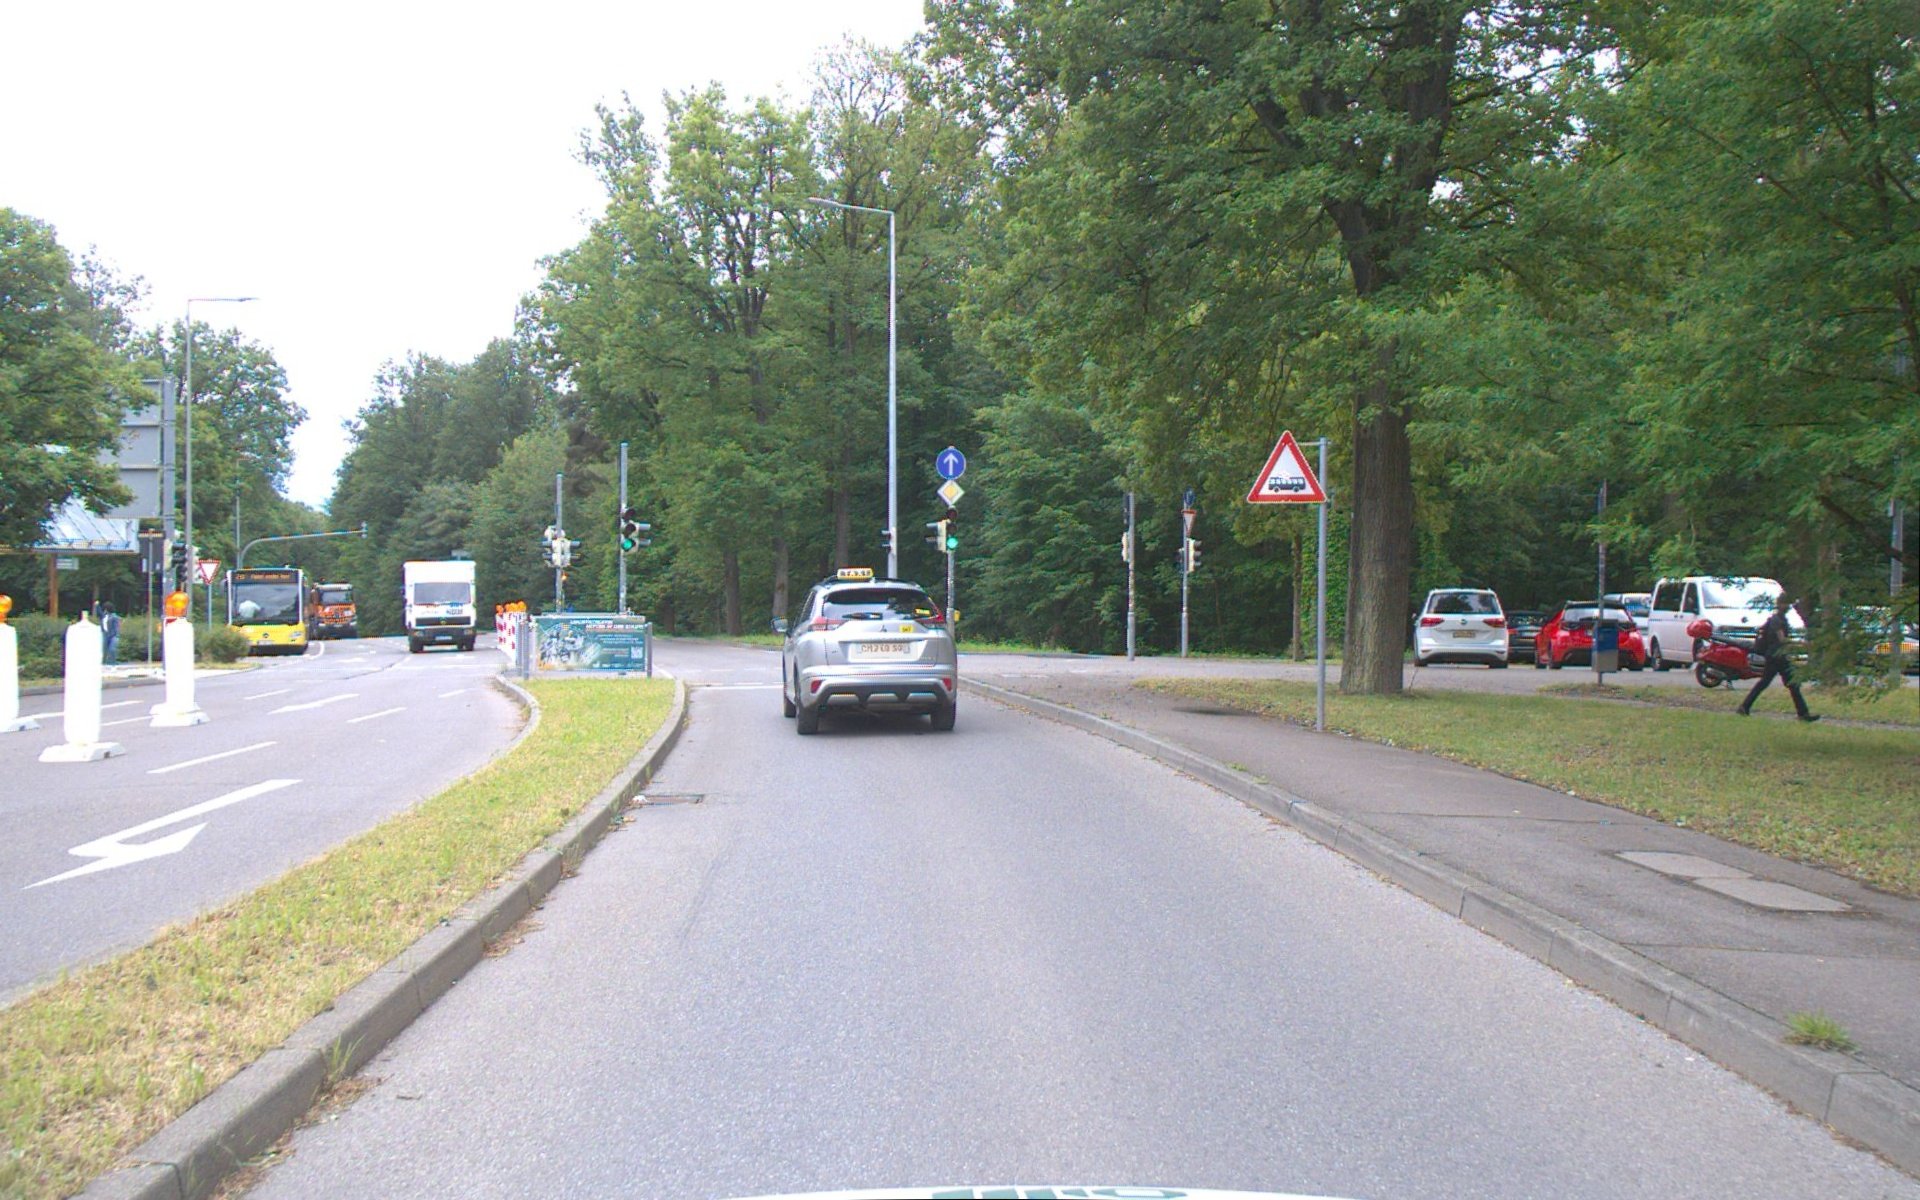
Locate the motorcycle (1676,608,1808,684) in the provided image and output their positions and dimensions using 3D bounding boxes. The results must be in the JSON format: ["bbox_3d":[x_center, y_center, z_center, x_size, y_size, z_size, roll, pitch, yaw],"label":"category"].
[{"bbox_3d":[13.059,0.765,27.656,1.909,1.225,0.591,1,-1,5],"label":"motorcycle"}]

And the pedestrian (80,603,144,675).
[{"bbox_3d":[-20.453,0.932,39.893,0.889,1.706,1.095,-1,-1,10],"label":"pedestrian"}]

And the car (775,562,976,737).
[{"bbox_3d":[-1.098,0.515,19.324,1.813,1.811,3.989,0,0,-11],"label":"car"}]

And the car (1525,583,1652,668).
[{"bbox_3d":[12.619,0.497,33.417,1.848,1.579,4.003,1,0,13],"label":"car"}]

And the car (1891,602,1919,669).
[{"bbox_3d":[20.063,0.715,32.476,1.775,1.348,4.132,1,0,9],"label":"car"}]

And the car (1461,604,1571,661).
[{"bbox_3d":[14.914,0.845,44.564,1.777,1.445,3.850,1,0,2],"label":"car"}]

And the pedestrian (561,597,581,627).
[{"bbox_3d":[-22.444,0.682,95.477,1.031,1.678,1.063,-2,0,-18],"label":"pedestrian"}]

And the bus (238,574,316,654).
[{"bbox_3d":[-28.945,0.617,70.352,2.857,3.182,8.638,0,-1,-21],"label":"bus"}]

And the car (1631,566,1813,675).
[{"bbox_3d":[15.248,0.461,33.413,2.012,1.992,5.187,1,-2,9],"label":"car"}]

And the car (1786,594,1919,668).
[{"bbox_3d":[17.908,0.599,32.617,1.679,1.351,3.939,1,0,7],"label":"car"}]

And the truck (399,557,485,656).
[{"bbox_3d":[-18.457,0.238,59.186,2.586,3.295,6.181,-2,0,-15],"label":"truck"}]

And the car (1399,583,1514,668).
[{"bbox_3d":[10.091,0.499,33.888,1.951,1.579,4.424,1,0,13],"label":"car"}]

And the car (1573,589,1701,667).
[{"bbox_3d":[17.899,0.722,43.956,1.951,1.911,4.954,1,0,8],"label":"car"}]

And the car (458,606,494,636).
[{"bbox_3d":[-26.728,1.177,91.279,1.780,1.535,4.286,-2,-1,-17],"label":"car"}]

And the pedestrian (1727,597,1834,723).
[{"bbox_3d":[11.264,0.811,22.728,0.820,1.680,1.028,1,-1,-24],"label":"pedestrian"}]

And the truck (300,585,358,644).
[{"bbox_3d":[-39.642,0.952,103.773,2.706,3.376,7.098,-2,-1,-26],"label":"truck"}]

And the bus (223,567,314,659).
[{"bbox_3d":[-25.692,0.500,61.788,2.857,3.182,9.697,0,-1,-21],"label":"bus"}]
